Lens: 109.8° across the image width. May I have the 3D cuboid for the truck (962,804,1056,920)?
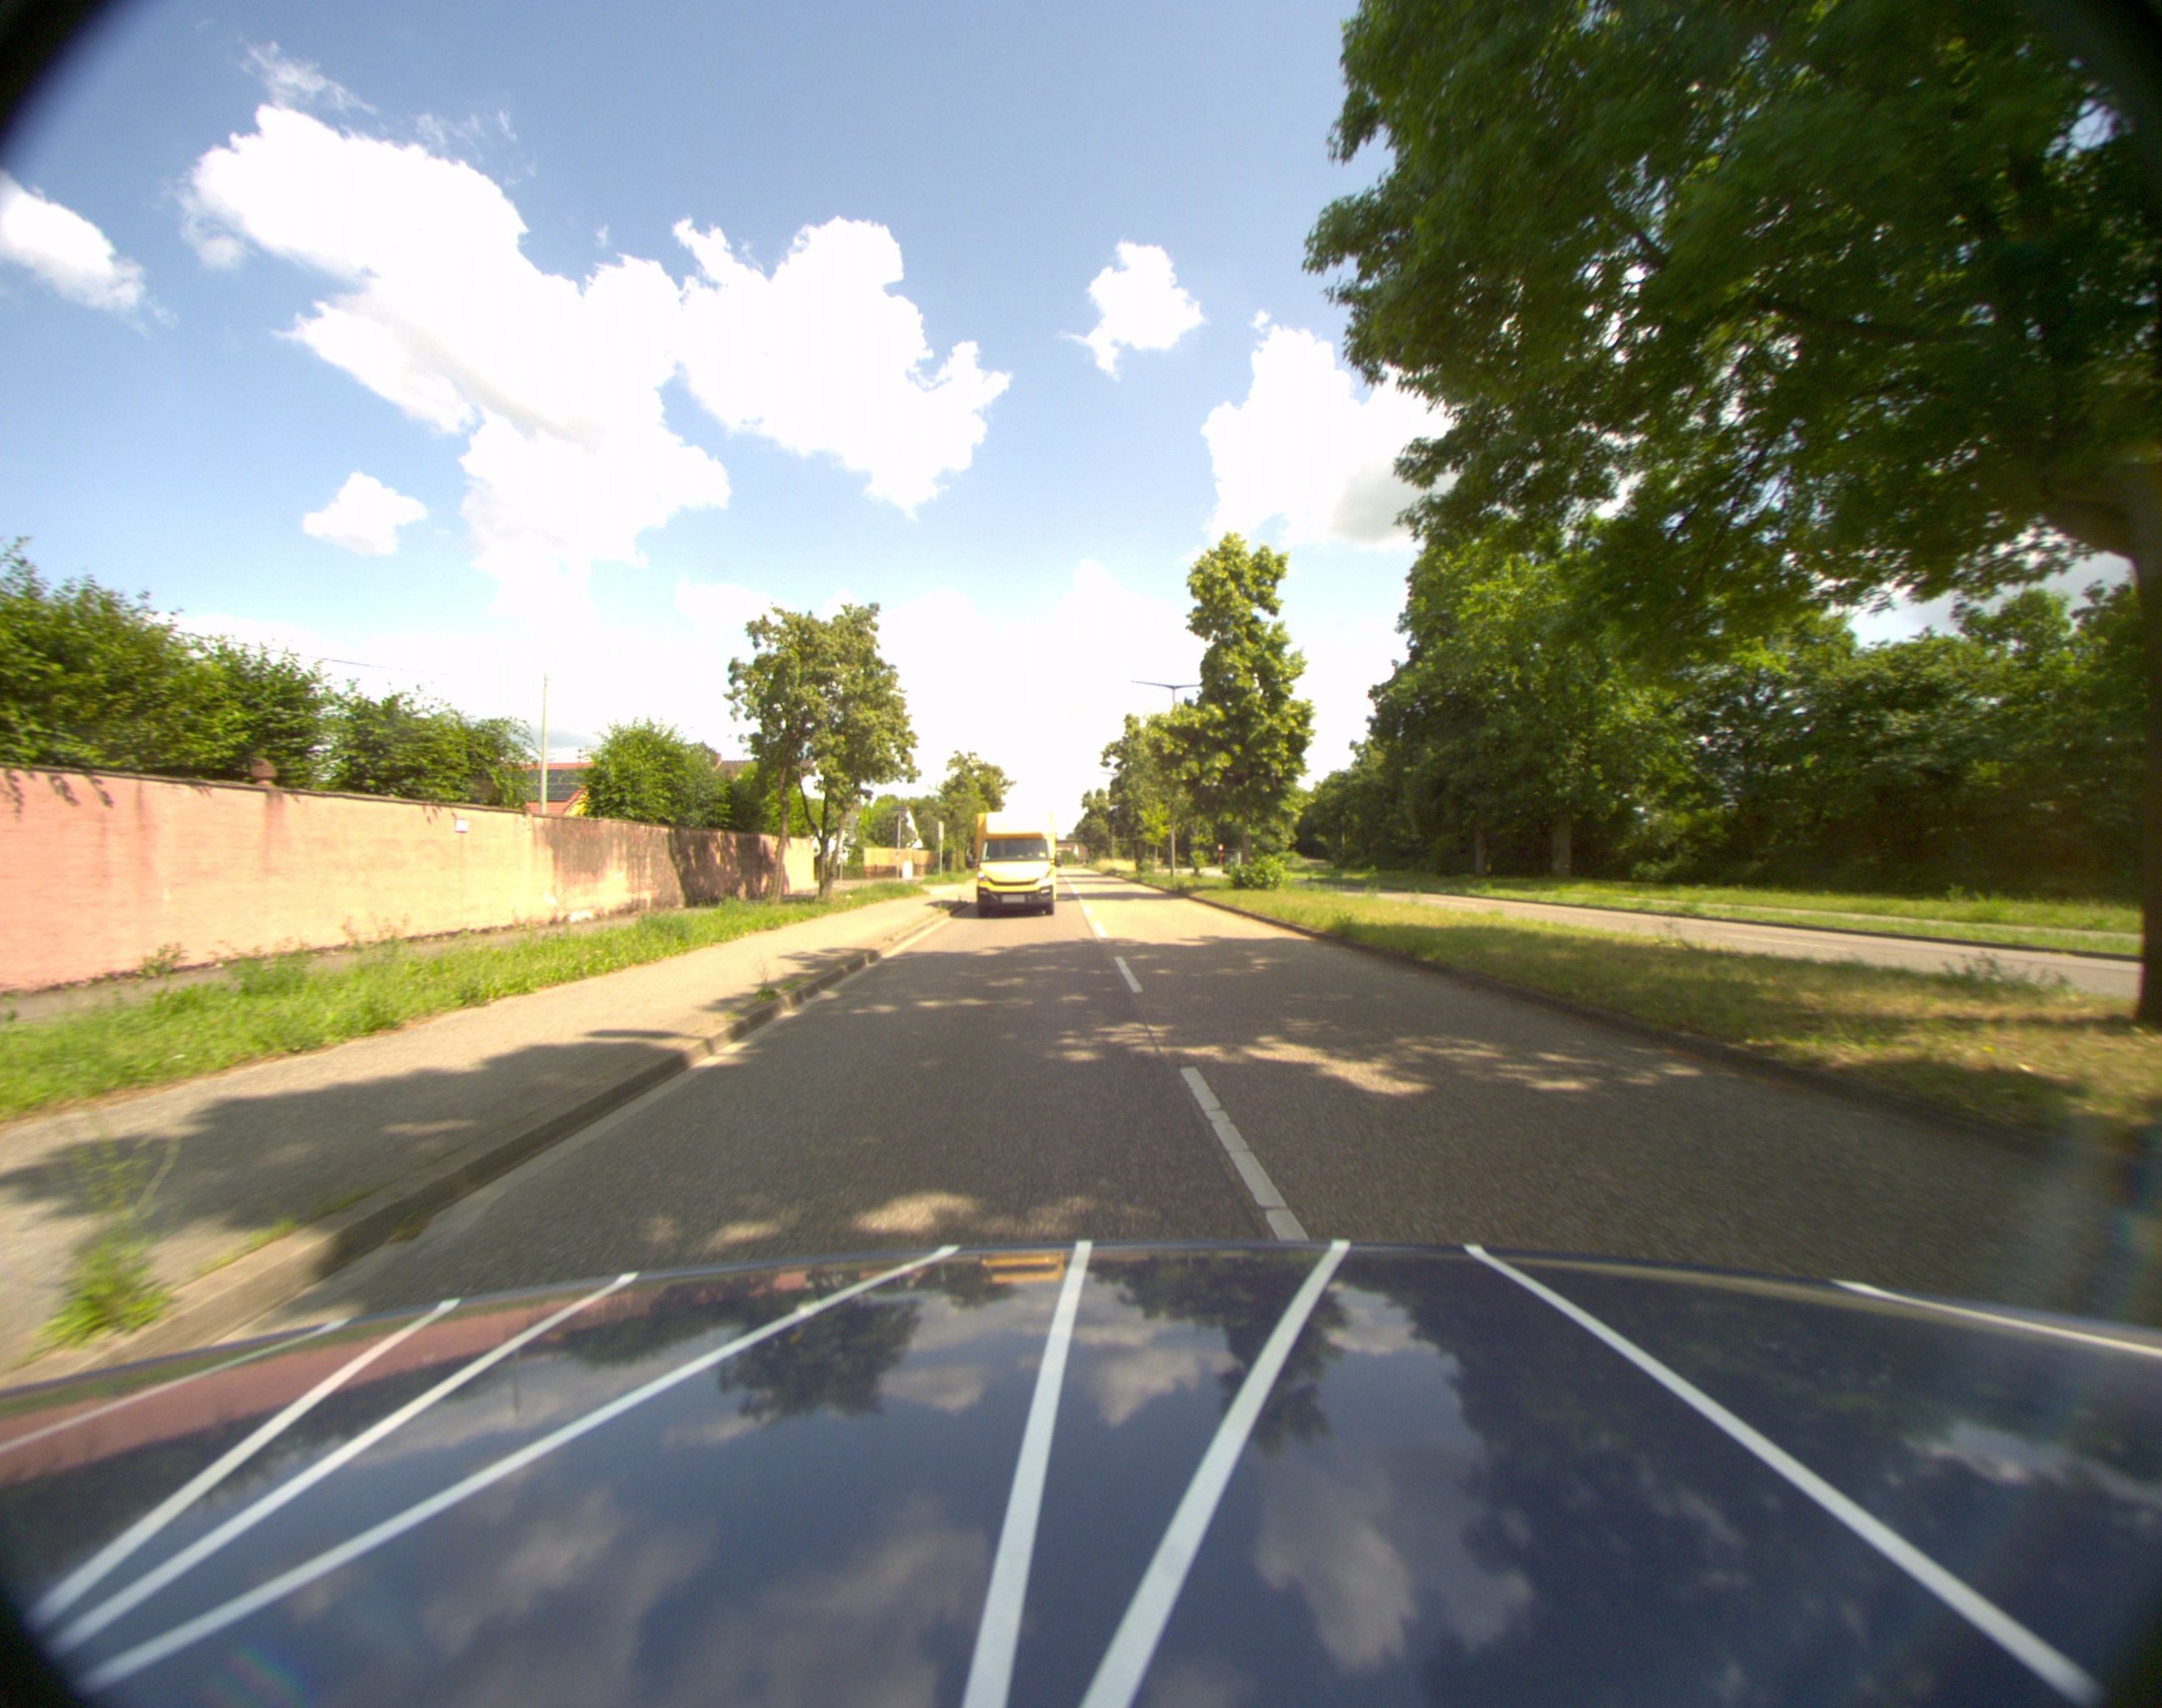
[{"bbox_3d":[-1.936,0.258,22.967,2.271,2.863,8.027,-1,-1,-2],"label":"truck"}]

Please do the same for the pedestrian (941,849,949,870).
[{"bbox_3d":[-11.048,0.432,61.810,0.561,1.667,0.634,0,0,-2],"label":"pedestrian"}]
